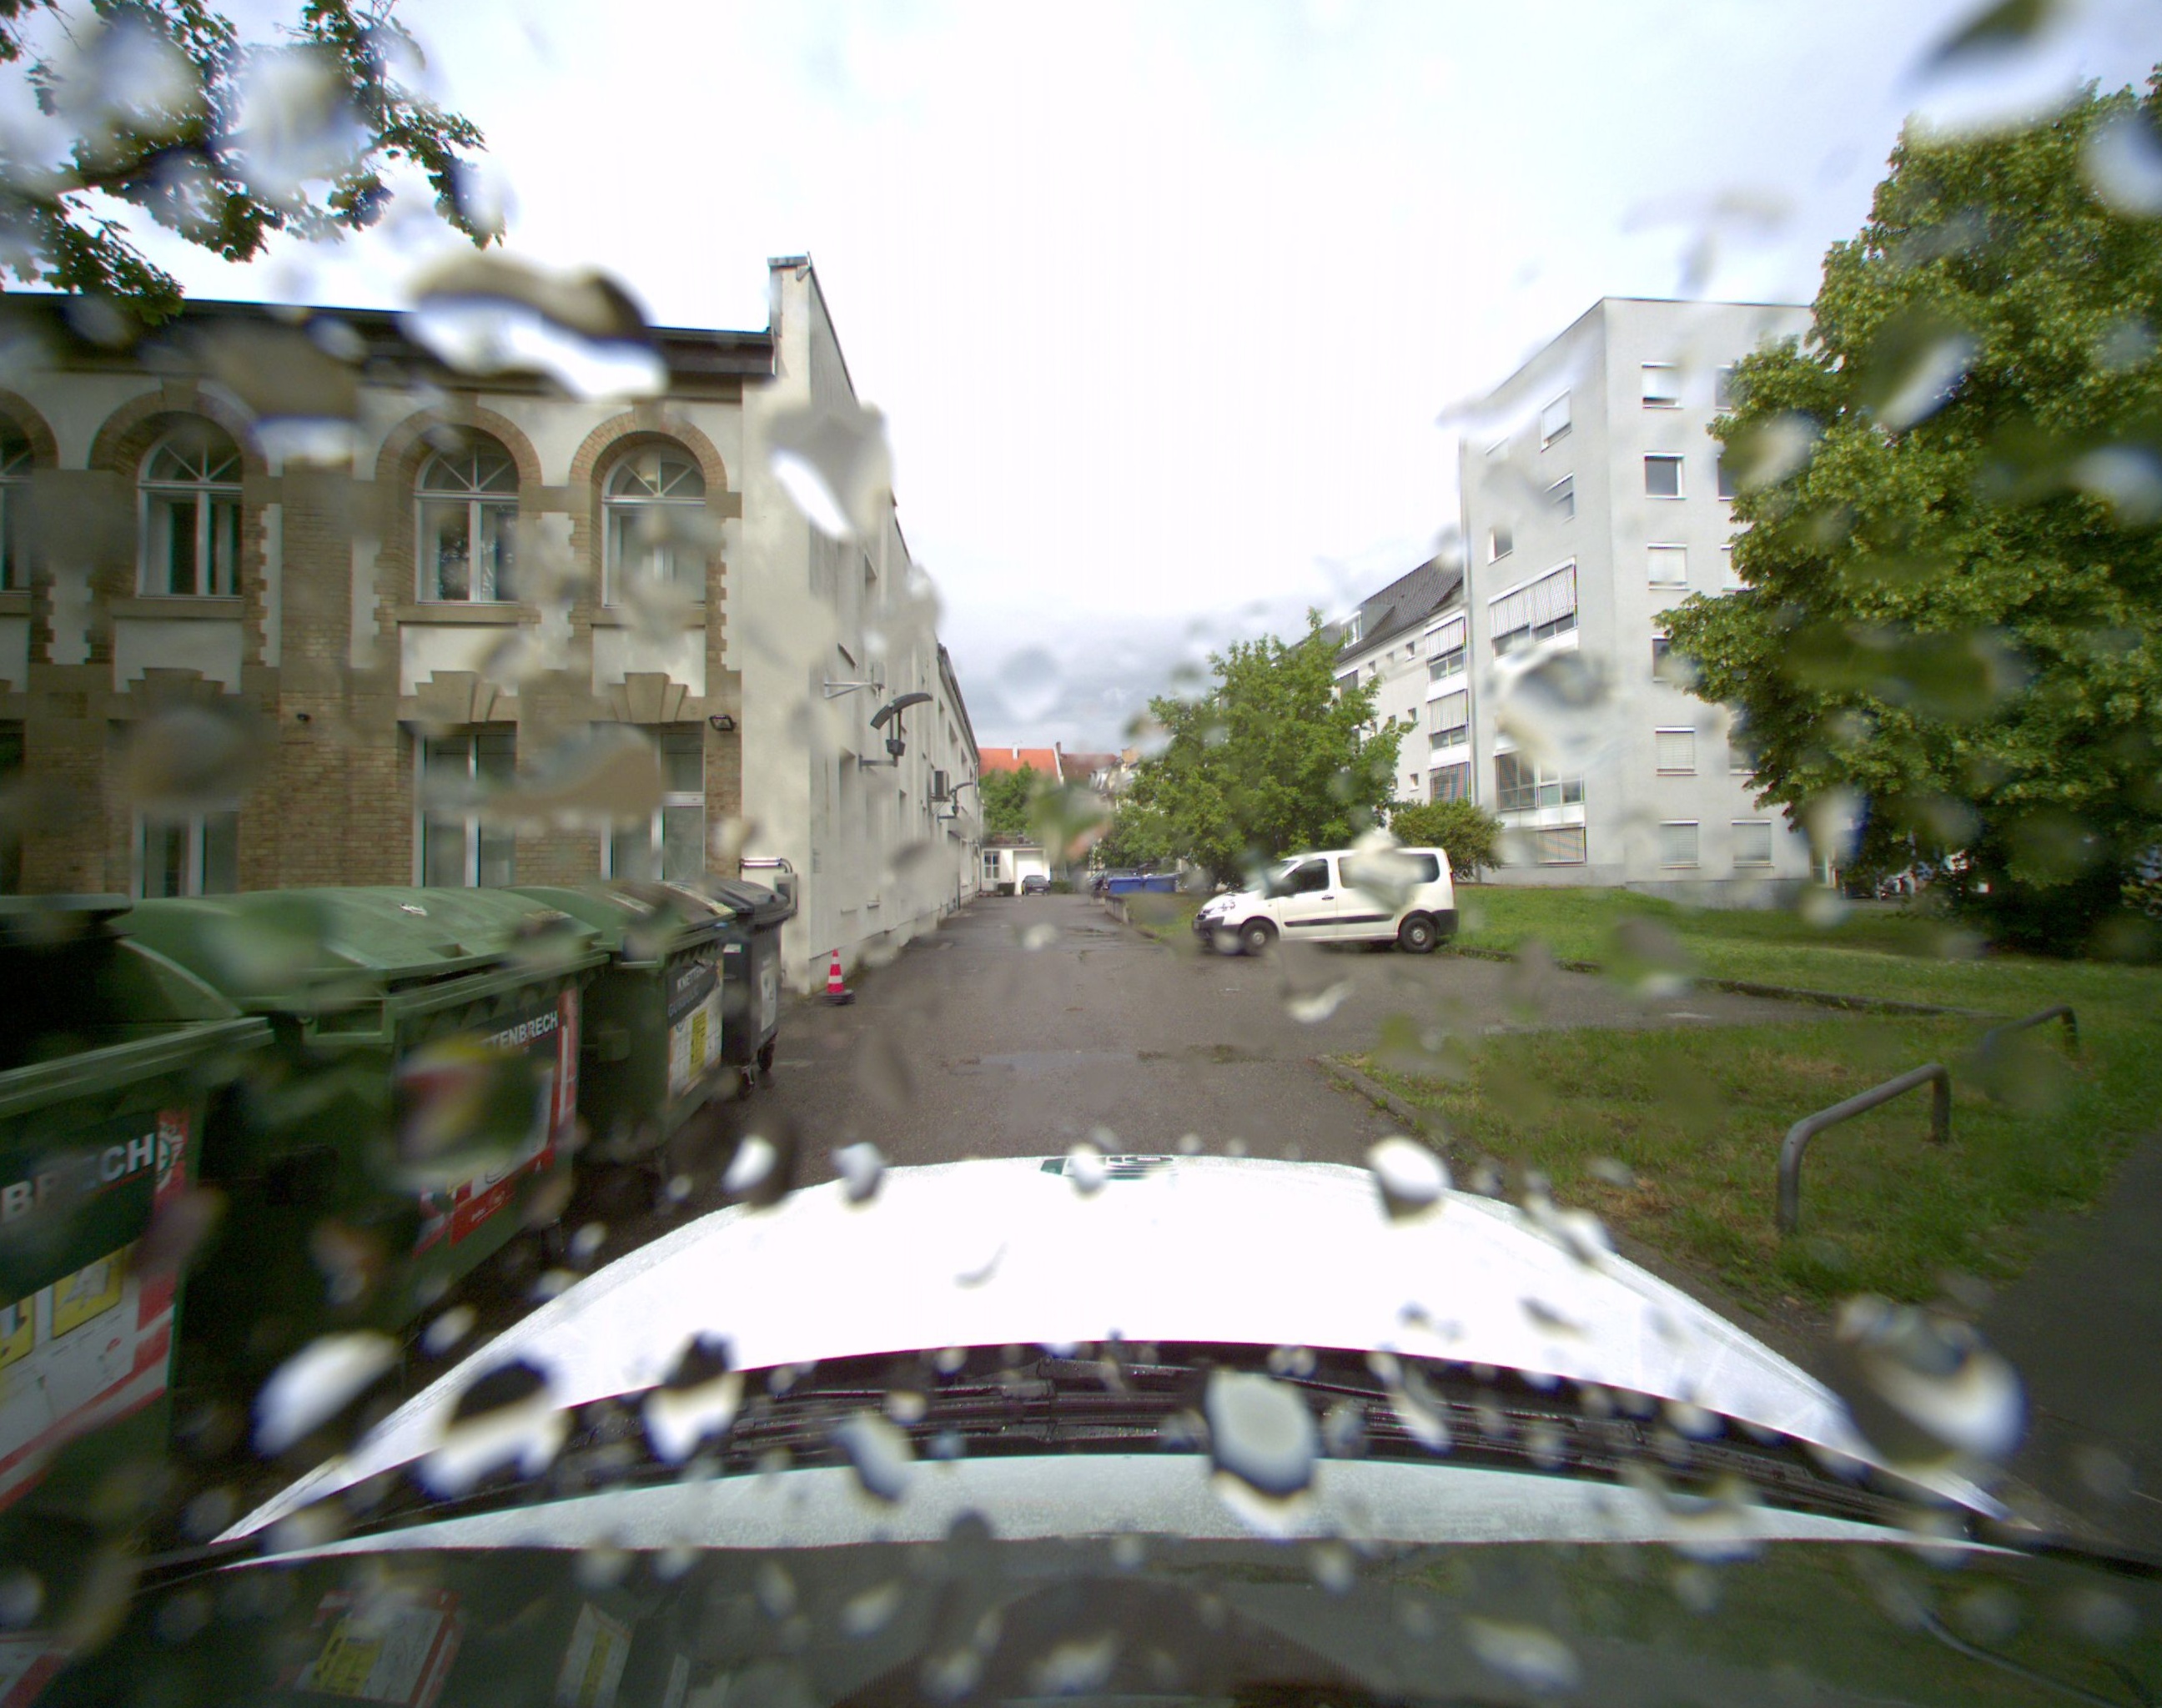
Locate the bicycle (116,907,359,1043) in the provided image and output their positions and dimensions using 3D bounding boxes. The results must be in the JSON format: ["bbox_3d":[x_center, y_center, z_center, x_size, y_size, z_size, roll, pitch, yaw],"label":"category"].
[{"bbox_3d":[-8.152,1.110,8.008,0.614,1.116,1.785,-1,-2,-5],"label":"bicycle"}]

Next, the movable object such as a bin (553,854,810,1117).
[{"bbox_3d":[-2.622,0.789,5.622,1.164,1.483,1.589,-2,-2,-10],"label":"movable object such as a bin"}]

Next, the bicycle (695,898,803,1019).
[{"bbox_3d":[-3.440,1.037,8.563,0.614,1.116,1.517,-1,-2,-5],"label":"bicycle"}]

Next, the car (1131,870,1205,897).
[{"bbox_3d":[5.084,1.724,47.819,3.988,1.458,1.766,-1,-2,-11],"label":"car"}]

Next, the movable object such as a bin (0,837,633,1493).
[{"bbox_3d":[-2.329,0.715,2.589,1.164,1.483,1.398,0,-1,-9],"label":"movable object such as a bin"}]

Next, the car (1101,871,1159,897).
[{"bbox_3d":[3.507,2.178,58.867,3.905,1.688,1.812,-2,-2,-7],"label":"car"}]

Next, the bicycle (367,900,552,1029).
[{"bbox_3d":[-6.180,1.042,8.237,0.614,1.116,1.785,-1,-2,-5],"label":"bicycle"}]

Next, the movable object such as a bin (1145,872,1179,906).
[{"bbox_3d":[3.254,1.406,32.759,1.183,1.304,1.105,-1,-2,-5],"label":"movable object such as a bin"}]

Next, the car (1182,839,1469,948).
[{"bbox_3d":[4.535,0.754,15.654,4.863,1.926,2.096,0,-3,-4],"label":"car"}]

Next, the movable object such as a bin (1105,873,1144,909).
[{"bbox_3d":[1.650,1.401,30.844,1.334,1.292,1.094,-1,-1,-3],"label":"movable object such as a bin"}]

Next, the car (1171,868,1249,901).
[{"bbox_3d":[6.279,1.494,39.830,3.413,1.427,1.683,-2,-2,-8],"label":"car"}]

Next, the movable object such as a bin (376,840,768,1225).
[{"bbox_3d":[-2.348,0.729,4.071,1.164,1.483,1.491,-2,-2,-10],"label":"movable object such as a bin"}]

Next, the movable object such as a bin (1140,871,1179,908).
[{"bbox_3d":[2.973,1.344,31.035,1.290,1.336,1.195,-1,-2,-3],"label":"movable object such as a bin"}]

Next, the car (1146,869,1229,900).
[{"bbox_3d":[5.553,1.610,42.714,3.985,1.446,1.801,-2,-2,-9],"label":"car"}]

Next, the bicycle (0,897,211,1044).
[{"bbox_3d":[-9.609,1.047,7.781,0.614,1.225,1.923,-1,-2,-5],"label":"bicycle"}]

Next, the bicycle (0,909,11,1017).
[{"bbox_3d":[-11.475,1.104,7.563,0.614,1.116,1.923,-1,-2,-5],"label":"bicycle"}]

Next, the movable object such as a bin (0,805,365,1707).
[{"bbox_3d":[-2.190,0.667,1.181,1.165,1.483,1.397,0,0,-12],"label":"movable object such as a bin"}]

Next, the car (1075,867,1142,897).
[{"bbox_3d":[2.051,2.090,61.426,4.644,2.003,2.213,-1,-1,-16],"label":"car"}]

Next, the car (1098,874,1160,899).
[{"bbox_3d":[3.269,2.215,55.541,3.910,1.514,1.745,-2,-2,-11],"label":"car"}]

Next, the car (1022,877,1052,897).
[{"bbox_3d":[-3.310,2.441,60.524,1.977,1.444,3.989,0,-2,-7],"label":"car"}]

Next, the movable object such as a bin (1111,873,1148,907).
[{"bbox_3d":[1.925,1.447,32.536,1.369,1.304,1.081,-1,-2,-4],"label":"movable object such as a bin"}]

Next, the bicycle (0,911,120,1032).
[{"bbox_3d":[-10.530,1.135,7.733,0.614,1.116,1.923,-1,-2,-5],"label":"bicycle"}]
